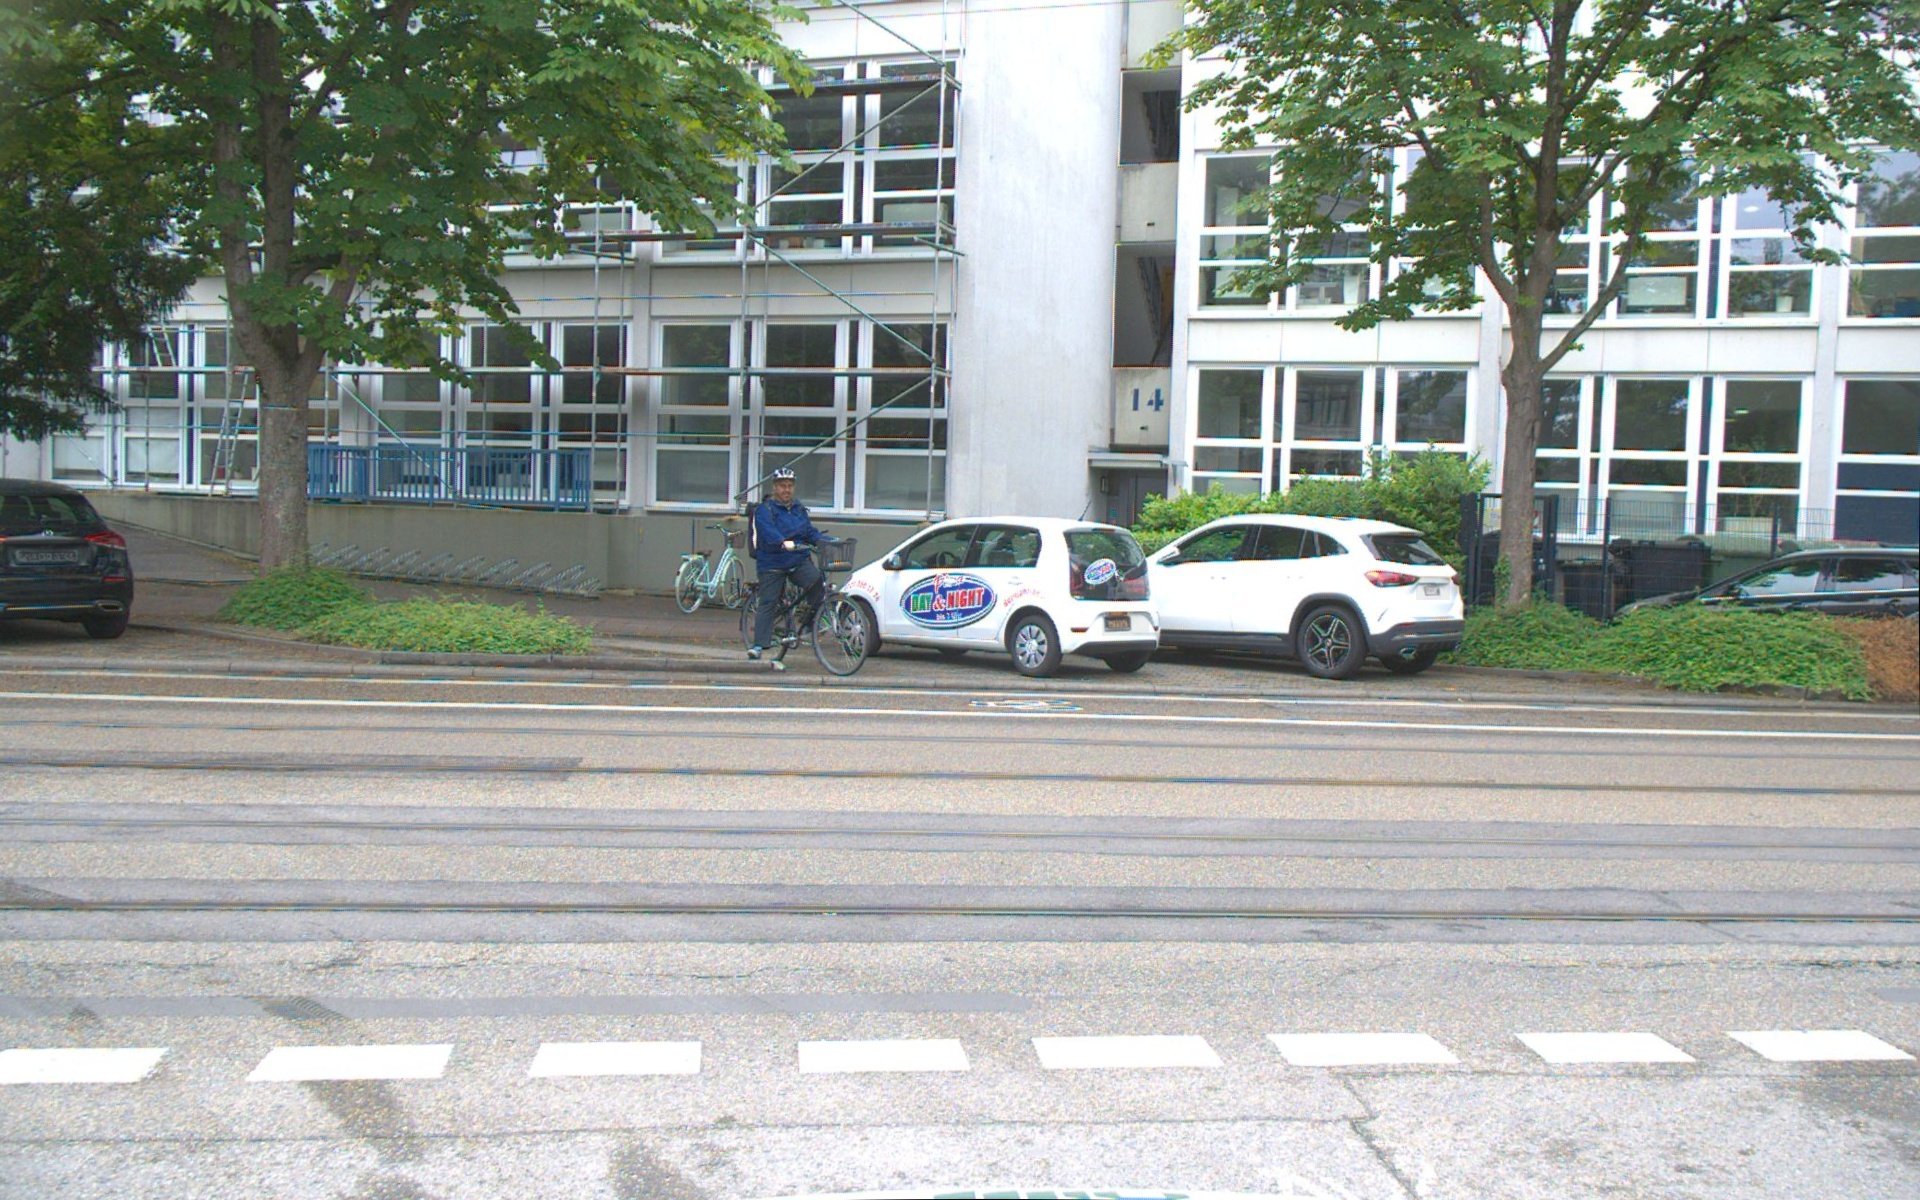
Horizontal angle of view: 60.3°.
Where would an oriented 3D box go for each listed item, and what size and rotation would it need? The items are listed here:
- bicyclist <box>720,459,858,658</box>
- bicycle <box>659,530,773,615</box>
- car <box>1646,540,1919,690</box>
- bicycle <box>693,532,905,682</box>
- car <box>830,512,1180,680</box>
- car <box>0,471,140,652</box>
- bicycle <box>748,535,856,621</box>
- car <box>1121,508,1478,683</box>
[{"bbox_3d":[-1.543,-0.385,14.925,0.881,1.727,0.829,4,3,41],"label":"bicyclist"},{"bbox_3d":[-3.335,-0.407,22.852,0.630,1.093,2.314,2,3,16],"label":"bicycle"},{"bbox_3d":[9.833,0.132,18.258,3.877,1.499,1.667,3,3,37],"label":"car"},{"bbox_3d":[-1.469,0.031,14.866,1.881,1.194,0.817,5,4,41],"label":"bicycle"},{"bbox_3d":[0.395,-0.112,16.694,3.349,1.498,1.547,3,3,43],"label":"car"},{"bbox_3d":[-9.149,-0.401,15.334,3.275,1.537,1.611,3,3,40],"label":"car"},{"bbox_3d":[-2.106,-0.327,22.380,0.630,1.093,2.314,2,3,16],"label":"bicycle"},{"bbox_3d":[3.497,-0.120,17.336,3.349,1.646,1.547,3,3,43],"label":"car"}]
